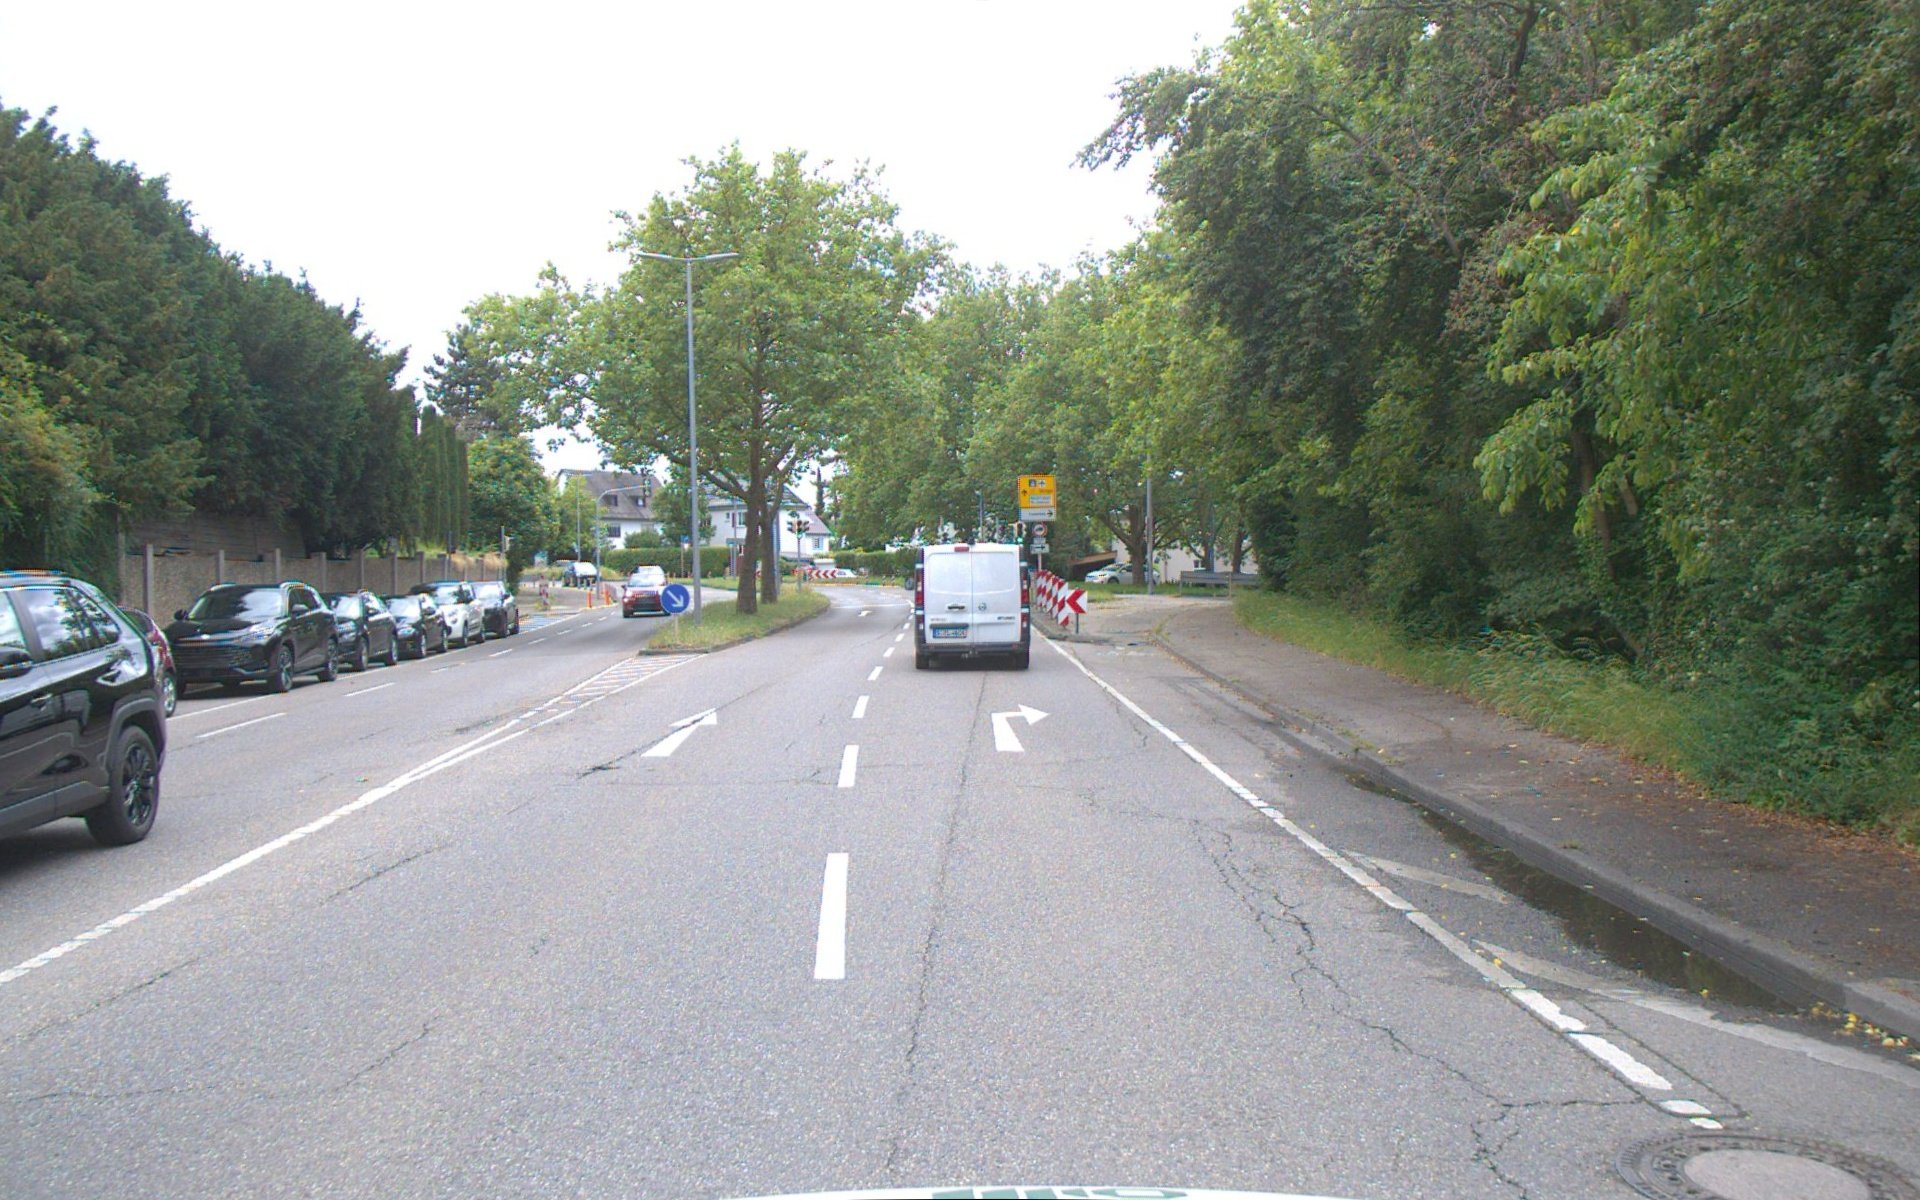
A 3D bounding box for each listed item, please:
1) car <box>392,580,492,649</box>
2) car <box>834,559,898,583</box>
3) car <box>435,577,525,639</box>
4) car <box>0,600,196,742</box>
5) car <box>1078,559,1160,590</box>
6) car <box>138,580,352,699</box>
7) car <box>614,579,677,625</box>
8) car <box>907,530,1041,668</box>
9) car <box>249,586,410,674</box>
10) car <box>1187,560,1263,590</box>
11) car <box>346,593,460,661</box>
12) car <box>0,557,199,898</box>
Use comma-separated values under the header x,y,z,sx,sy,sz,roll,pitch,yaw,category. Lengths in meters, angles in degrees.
x,y,z,sx,sy,sz,roll,pitch,yaw,category
-13.326,0.321,42.781,1.640,1.619,4.091,-3,1,-6,car
-7.323,-2.233,128.796,4.645,1.800,1.995,0,1,33,car
-13.892,0.206,48.088,1.852,1.653,4.422,-1,0,-8,car
-10.640,0.776,19.560,1.746,1.463,3.993,-2,1,-8,car
9.370,-1.507,97.443,4.692,1.800,1.975,-1,1,-36,car
-11.312,0.561,26.503,1.956,1.671,4.458,-2,1,-8,car
-11.904,0.070,62.806,1.960,1.615,3.992,-2,1,-6,car
0.138,-0.021,27.806,1.966,2.073,5.007,1,0,-3,car
-12.282,0.533,32.498,1.909,1.537,4.098,-3,1,-6,car
16.467,-1.585,102.801,4.692,1.800,1.975,-1,1,-36,car
-12.729,0.585,38.001,1.616,1.425,4.215,-1,0,-7,car
-5.694,0.650,8.641,1.807,1.676,4.208,-1,0,-6,car
